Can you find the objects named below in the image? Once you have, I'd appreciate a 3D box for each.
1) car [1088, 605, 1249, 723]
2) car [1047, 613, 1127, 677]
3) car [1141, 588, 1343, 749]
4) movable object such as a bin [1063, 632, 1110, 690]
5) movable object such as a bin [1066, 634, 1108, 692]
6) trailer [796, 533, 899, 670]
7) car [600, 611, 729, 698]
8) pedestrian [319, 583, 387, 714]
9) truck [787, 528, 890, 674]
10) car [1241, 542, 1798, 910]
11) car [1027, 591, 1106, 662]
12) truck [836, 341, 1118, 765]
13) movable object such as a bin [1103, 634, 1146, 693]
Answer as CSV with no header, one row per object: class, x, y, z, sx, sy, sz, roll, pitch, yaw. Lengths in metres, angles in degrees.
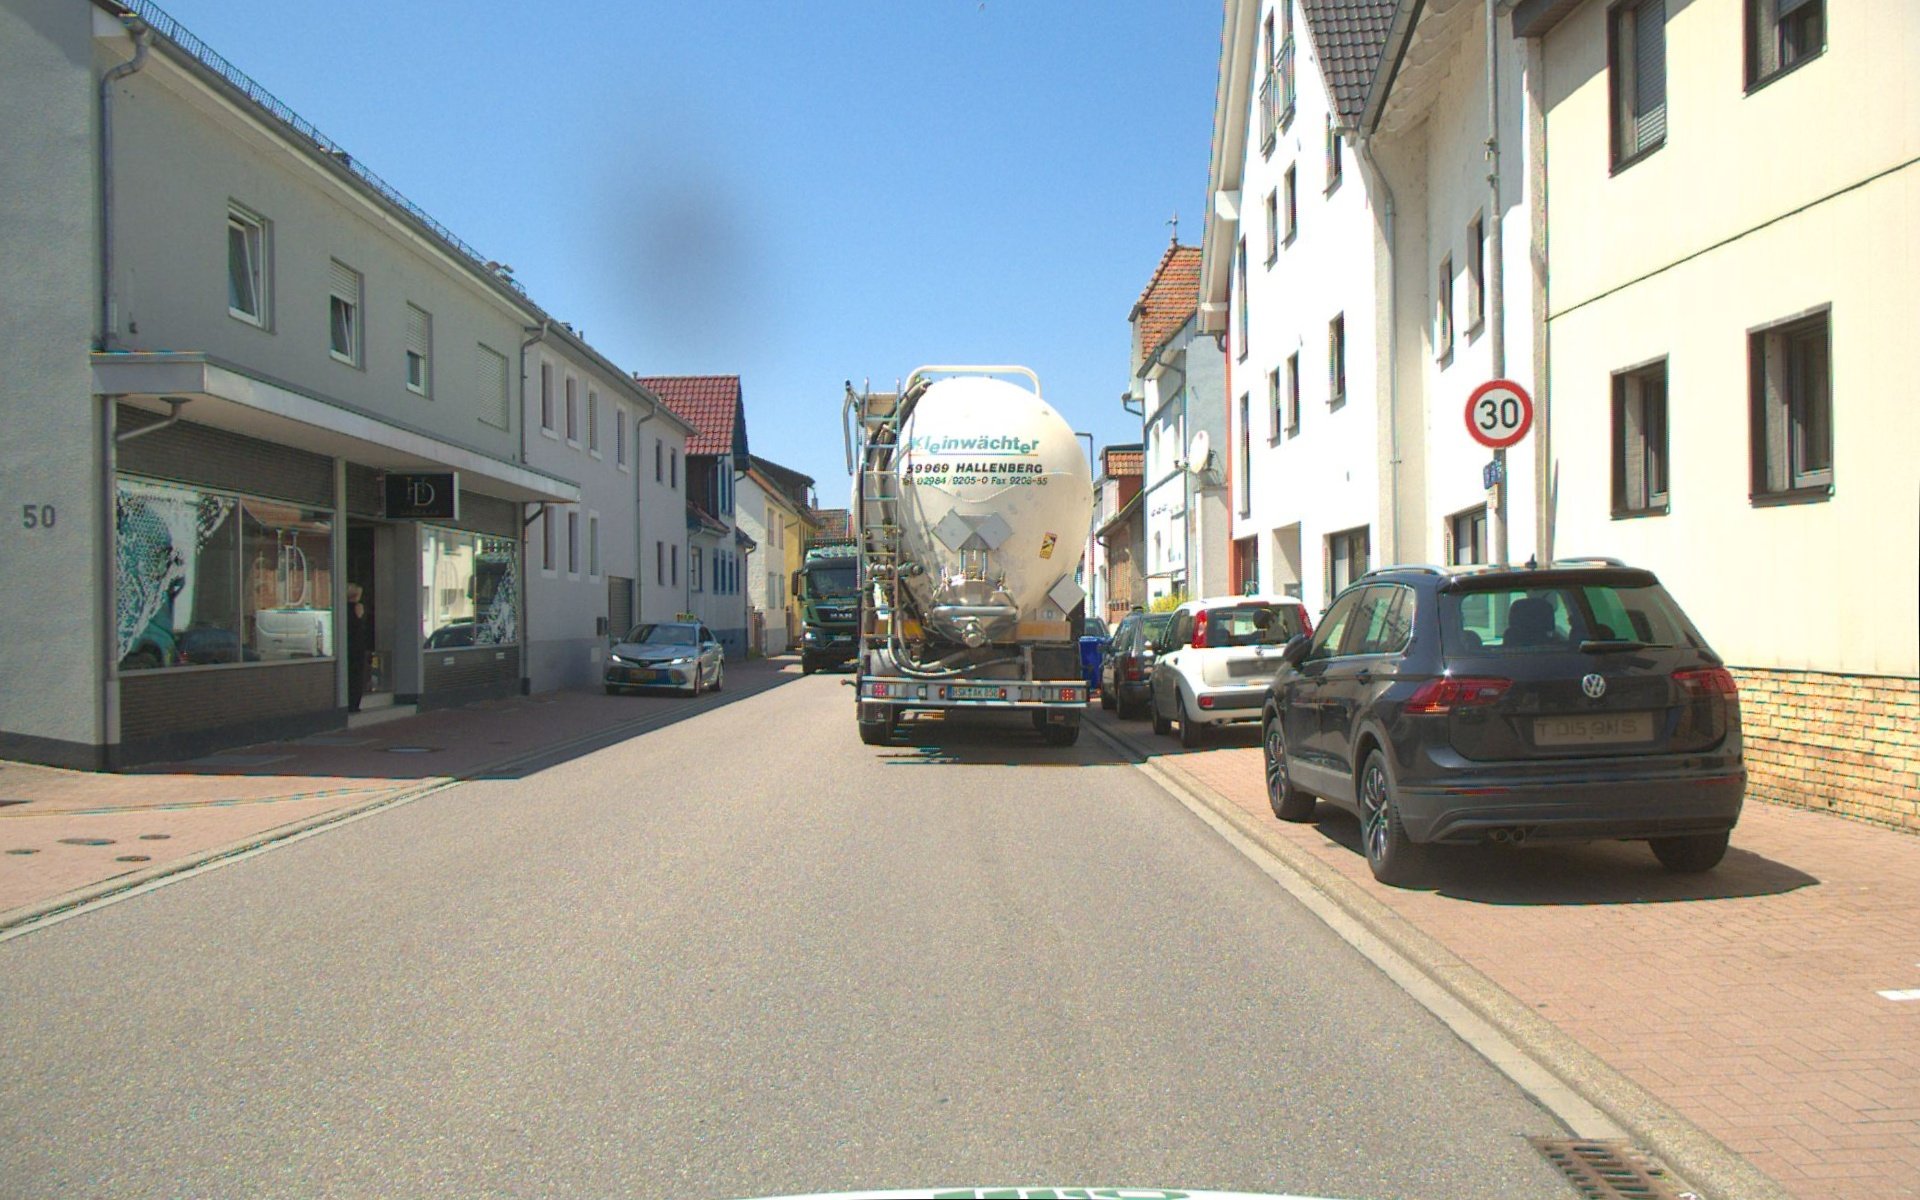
car,2.939,0.874,24.252,1.666,1.472,4.836,-3,-1,0
car,3.180,1.106,42.156,1.733,1.491,4.577,-1,-1,1
car,3.063,0.721,18.597,1.574,1.549,3.544,-3,-1,0
movable object such as a bin,2.497,1.193,32.585,0.707,1.092,0.972,-3,-1,16
movable object such as a bin,2.434,1.202,31.699,0.641,1.053,0.684,-3,-1,16
trailer,-3.684,0.169,57.778,2.577,4.049,15.694,-2,-1,-1
car,-5.925,1.066,33.672,1.771,1.584,4.564,2,-1,0
pedestrian,-8.091,0.640,22.069,0.612,1.714,0.771,0,-1,-1
truck,-3.602,0.086,50.352,2.565,4.055,6.850,-2,-1,-1
car,3.010,0.584,10.021,1.765,1.642,4.548,-3,0,0
car,3.161,0.789,49.915,1.907,2.005,4.783,-1,-1,-2
truck,0.175,-0.390,19.827,2.676,4.030,8.140,0,-1,0
movable object such as a bin,3.163,1.202,31.696,0.640,1.078,0.836,-3,-1,16
